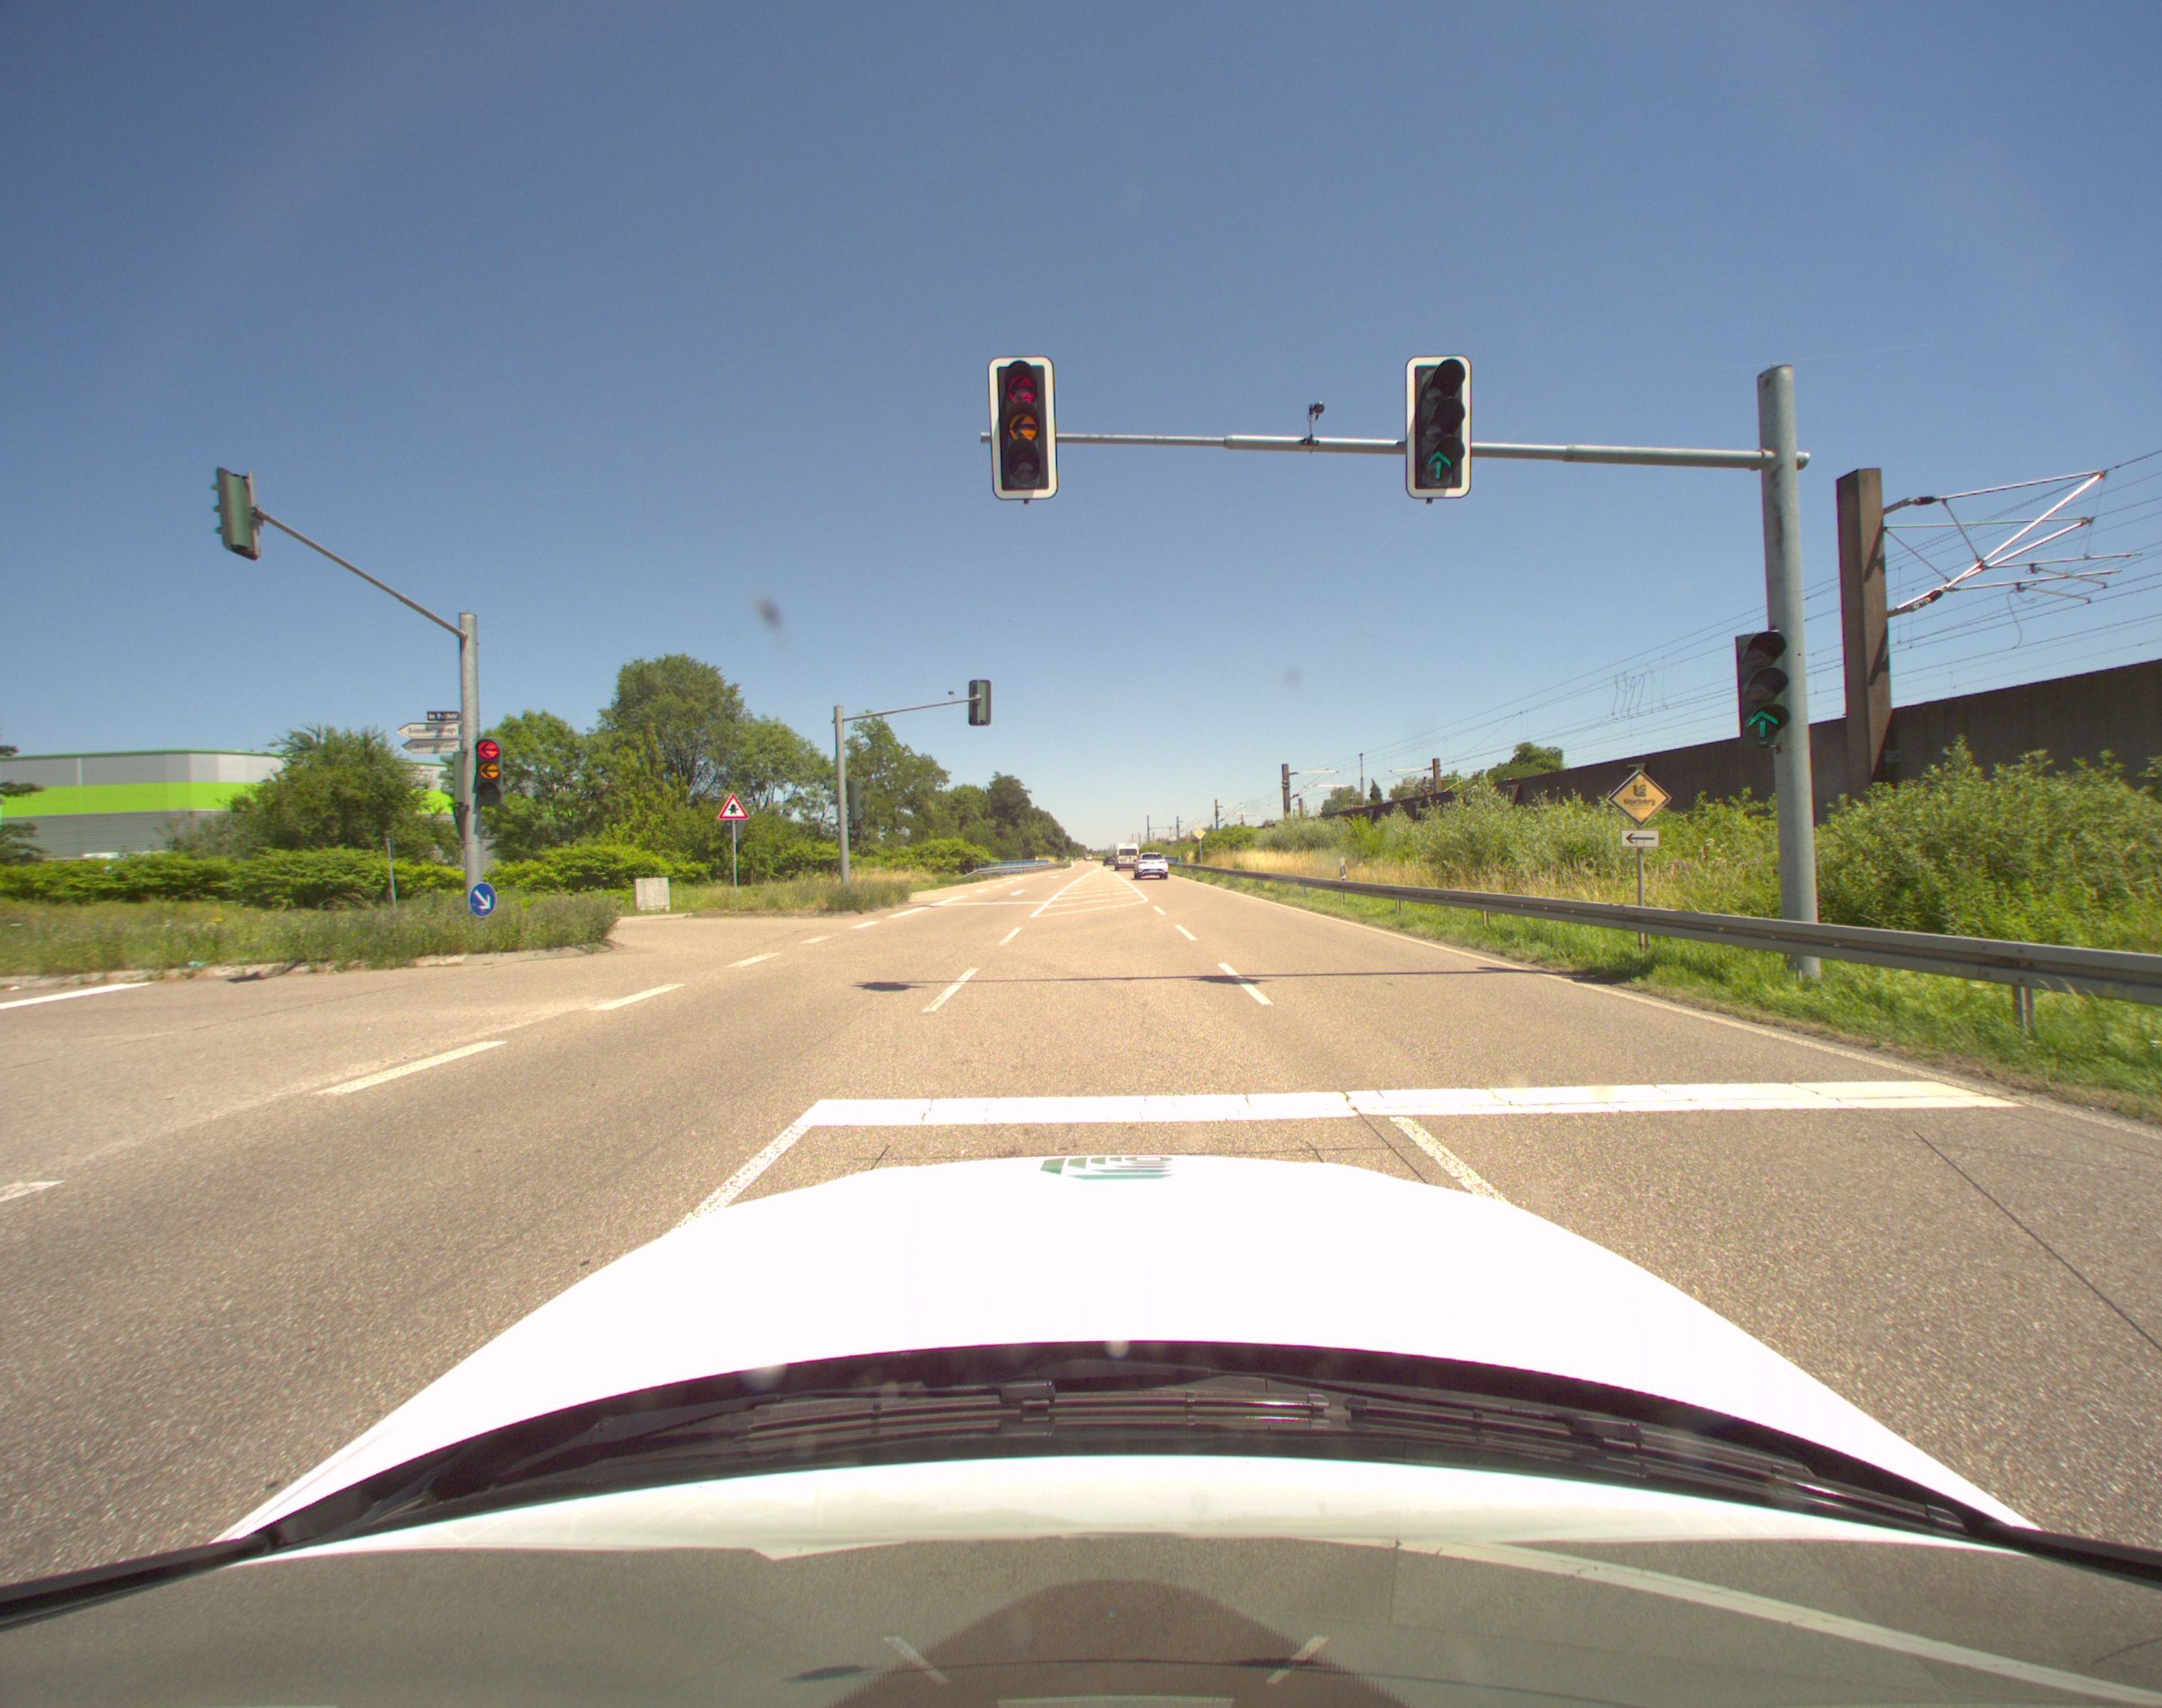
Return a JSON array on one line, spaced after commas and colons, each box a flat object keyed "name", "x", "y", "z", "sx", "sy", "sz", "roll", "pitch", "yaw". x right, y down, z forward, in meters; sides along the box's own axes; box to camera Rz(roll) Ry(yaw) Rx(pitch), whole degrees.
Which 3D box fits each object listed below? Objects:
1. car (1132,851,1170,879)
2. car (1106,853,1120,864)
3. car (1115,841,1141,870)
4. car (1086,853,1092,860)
[{"name": "car", "x": 4.090, "y": 0.642, "z": 48.405, "sx": 1.812, "sy": 1.564, "sz": 4.277, "roll": -1, "pitch": 0, "yaw": -1}, {"name": "car", "x": 4.418, "y": 0.611, "z": 112.881, "sx": 1.850, "sy": 1.379, "sz": 4.503, "roll": -1, "pitch": 0, "yaw": 1}, {"name": "car", "x": 4.392, "y": 0.100, "z": 77.270, "sx": 2.180, "sy": 2.604, "sz": 6.752, "roll": -1, "pitch": 0, "yaw": 1}, {"name": "car", "x": 2.392, "y": 0.837, "z": 245.389, "sx": 1.987, "sy": 1.983, "sz": 4.059, "roll": -1, "pitch": 0, "yaw": 0}]
